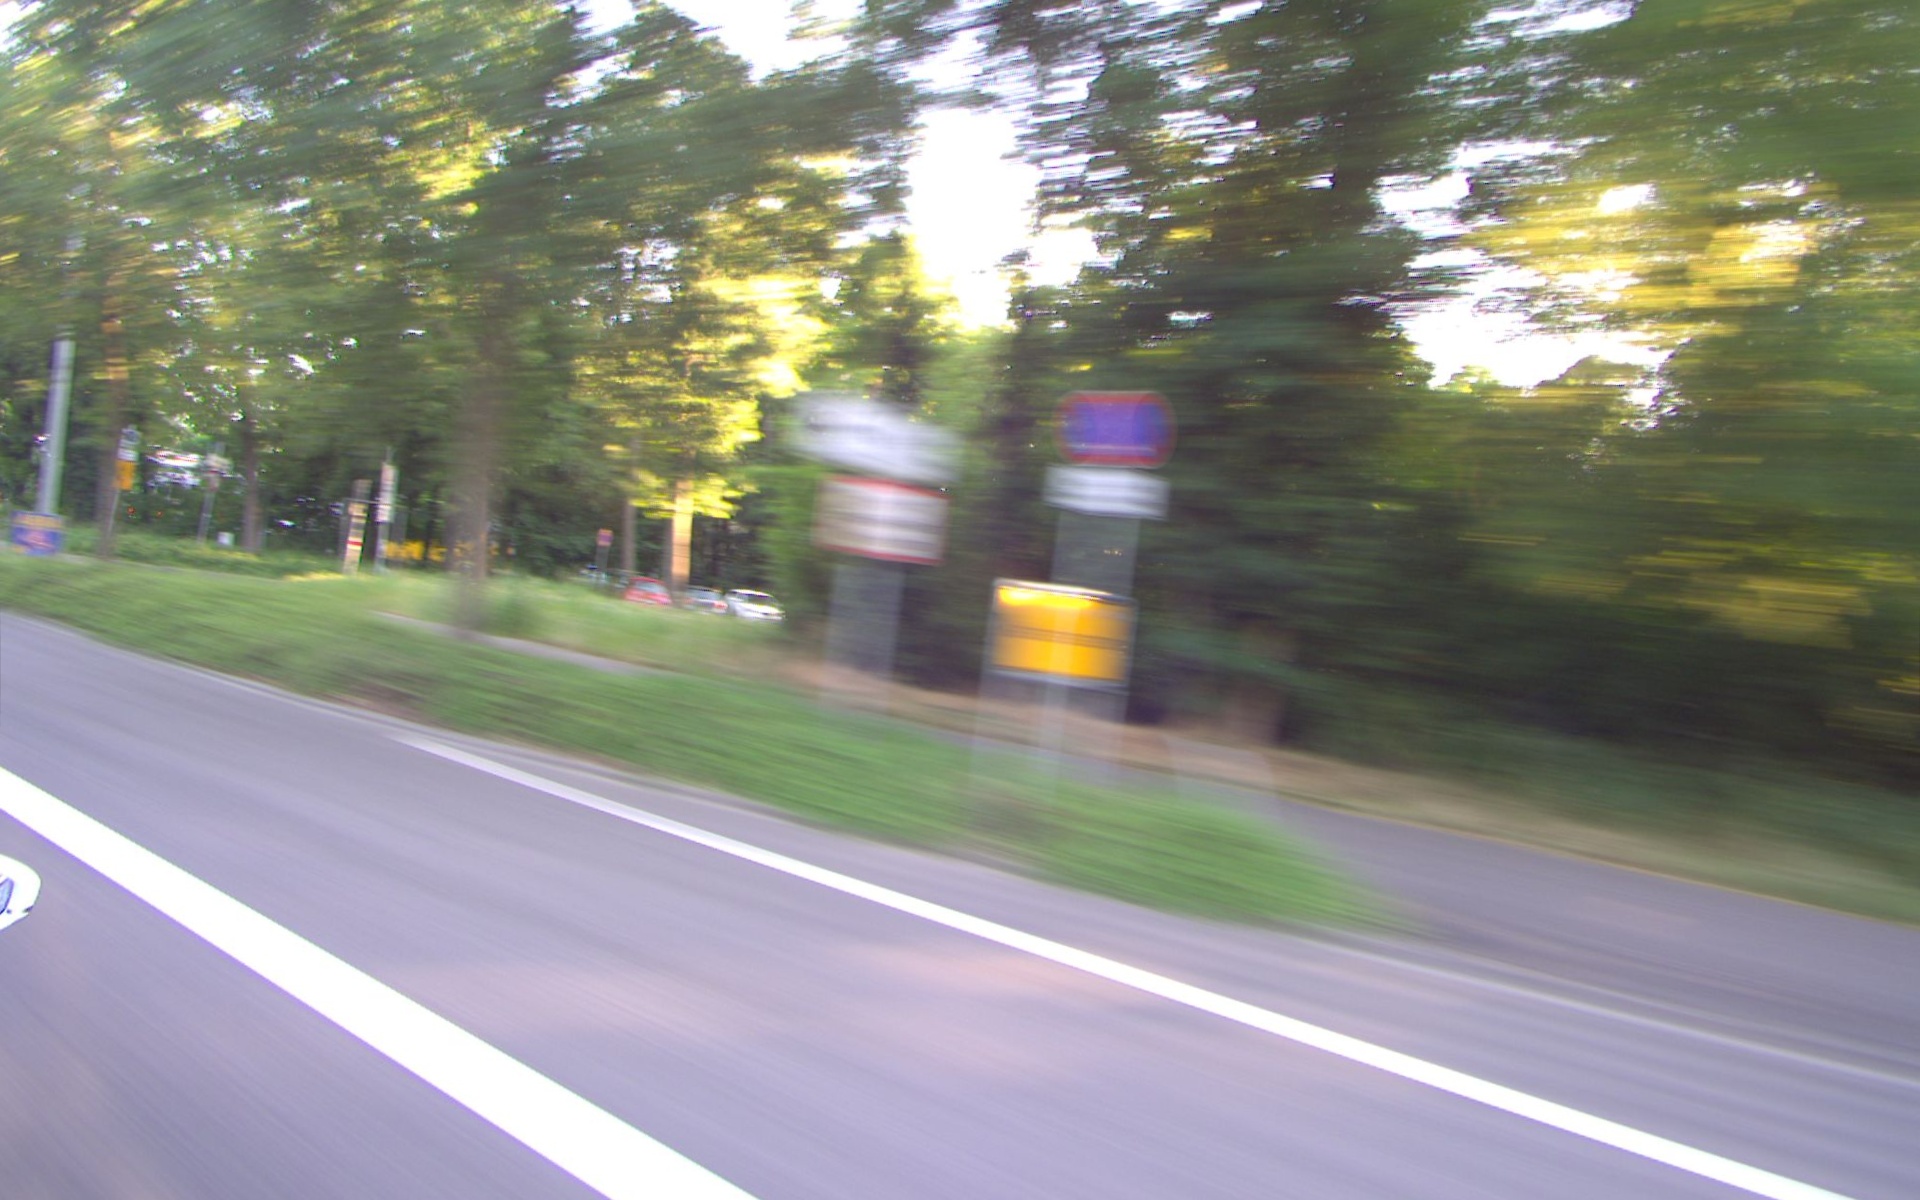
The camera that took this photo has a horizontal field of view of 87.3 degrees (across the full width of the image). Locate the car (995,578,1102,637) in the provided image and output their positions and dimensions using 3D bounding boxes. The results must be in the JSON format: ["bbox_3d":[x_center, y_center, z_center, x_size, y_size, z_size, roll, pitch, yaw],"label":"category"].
[{"bbox_3d":[2.758,0.197,32.045,1.524,1.499,3.618,8,-1,-28],"label":"car"}]

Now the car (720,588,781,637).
[{"bbox_3d":[-8.713,0.479,41.591,1.522,1.667,3.818,7,-1,-24],"label":"car"}]

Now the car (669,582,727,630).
[{"bbox_3d":[-10.783,0.212,41.261,1.522,1.604,3.818,7,-1,-24],"label":"car"}]

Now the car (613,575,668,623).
[{"bbox_3d":[-12.884,-0.069,40.456,1.522,1.604,3.818,7,-1,-24],"label":"car"}]
